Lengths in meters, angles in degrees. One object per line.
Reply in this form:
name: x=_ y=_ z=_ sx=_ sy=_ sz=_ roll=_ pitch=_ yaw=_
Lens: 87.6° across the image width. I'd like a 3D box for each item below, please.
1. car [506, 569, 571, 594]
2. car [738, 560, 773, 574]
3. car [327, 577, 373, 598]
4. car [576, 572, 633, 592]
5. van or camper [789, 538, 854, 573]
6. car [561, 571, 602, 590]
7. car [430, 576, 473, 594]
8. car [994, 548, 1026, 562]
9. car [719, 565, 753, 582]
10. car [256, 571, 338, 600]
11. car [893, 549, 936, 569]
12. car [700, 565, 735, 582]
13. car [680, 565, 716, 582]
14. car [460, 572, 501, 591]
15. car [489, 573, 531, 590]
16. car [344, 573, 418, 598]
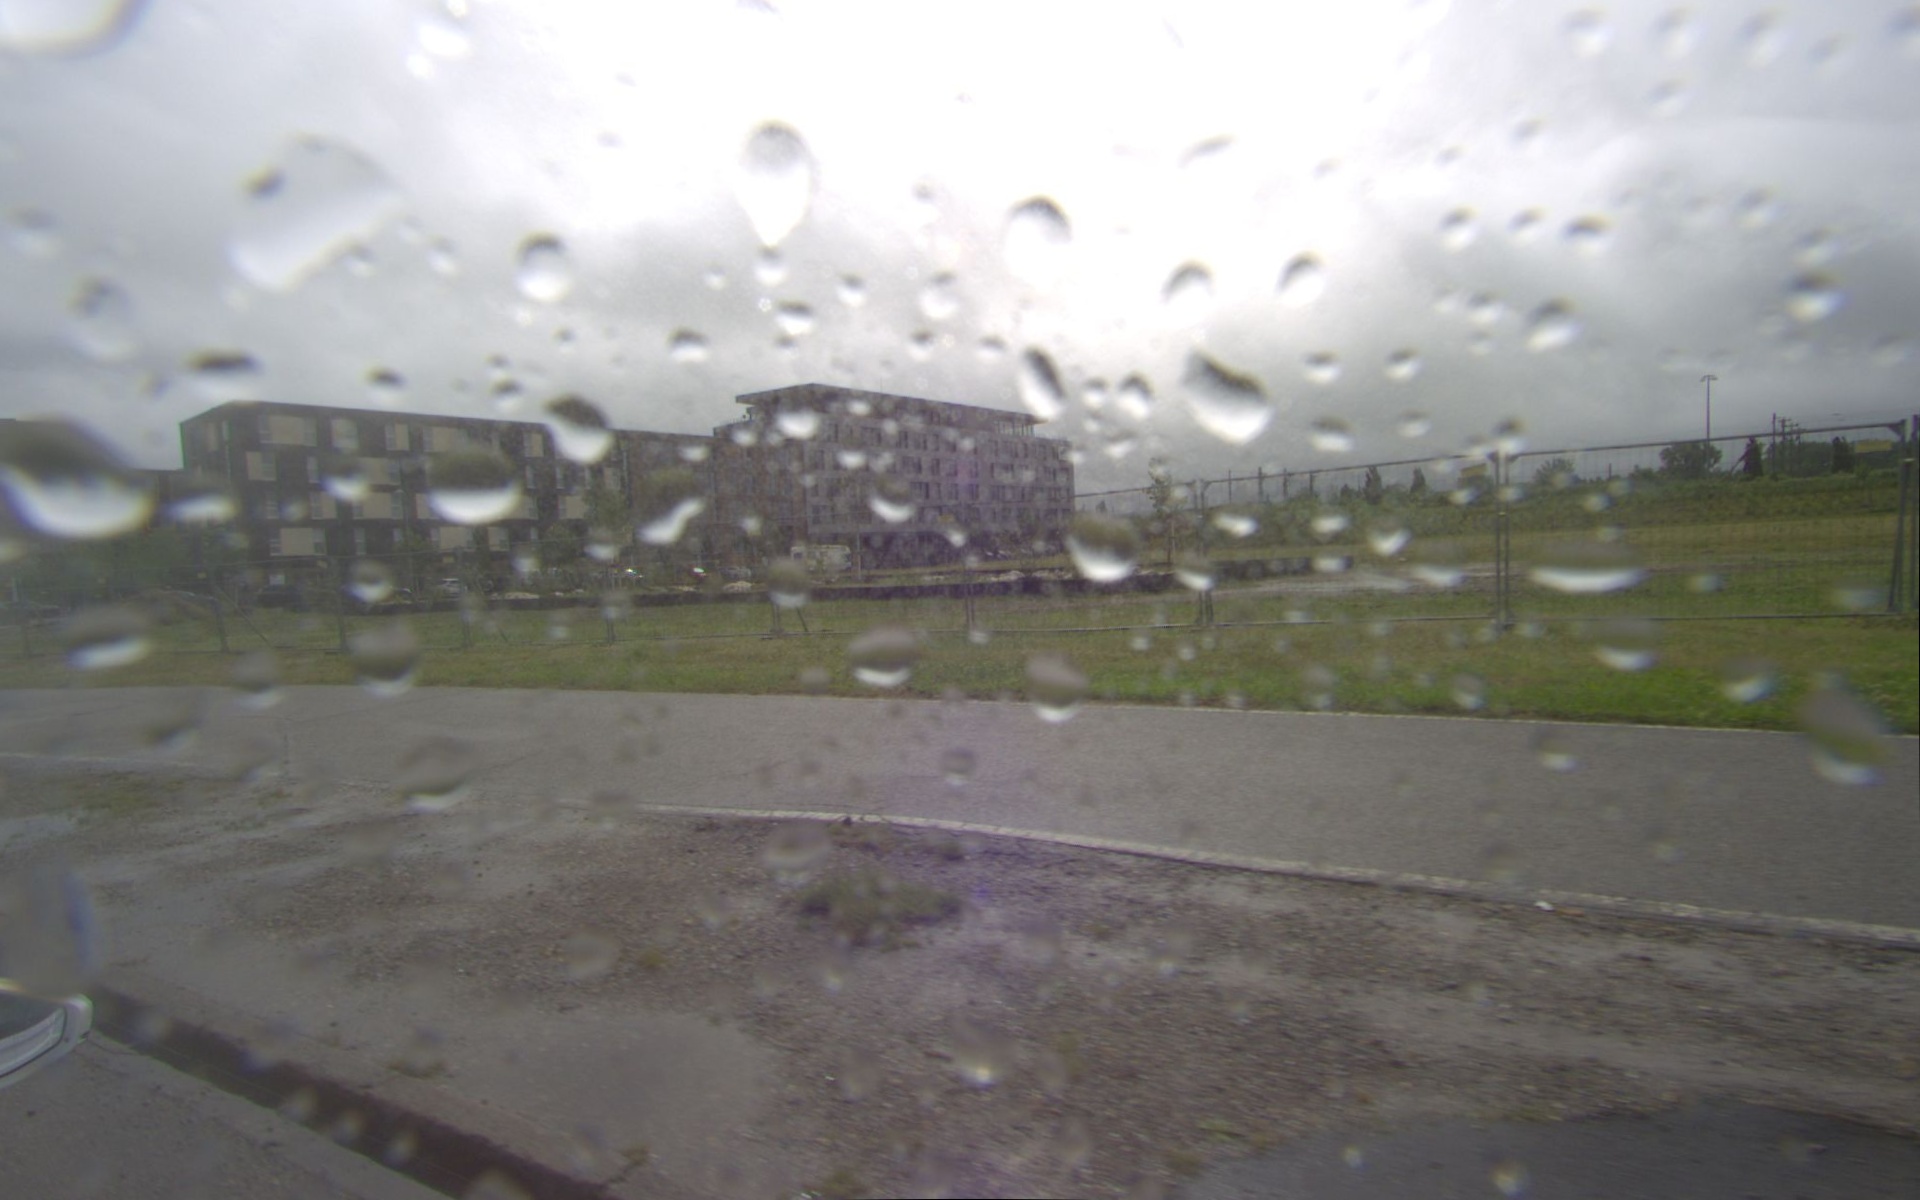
car: x=-33.069 y=-1.427 z=78.593 sx=1.976 sy=1.795 sz=4.306 roll=0 pitch=-1 yaw=39
car: x=-22.215 y=-3.561 z=108.576 sx=3.855 sy=1.313 sz=1.541 roll=0 pitch=1 yaw=38
car: x=-47.035 y=-0.937 z=77.166 sx=3.794 sy=1.548 sz=1.773 roll=0 pitch=1 yaw=38
car: x=-29.555 y=-1.510 z=83.251 sx=1.975 sy=1.434 sz=3.969 roll=0 pitch=3 yaw=38
van or camper: x=-14.078 y=-4.506 z=102.488 sx=2.498 sy=3.244 sz=6.750 roll=0 pitch=1 yaw=38
car: x=-34.728 y=-1.751 z=91.858 sx=3.794 sy=1.637 sz=1.773 roll=0 pitch=1 yaw=38
car: x=-42.242 y=-1.253 z=83.231 sx=3.760 sy=1.414 sz=1.756 roll=0 pitch=1 yaw=38
car: x=6.915 y=-6.255 z=138.859 sx=4.319 sy=1.710 sz=1.785 roll=0 pitch=1 yaw=41
car: x=-23.812 y=-2.786 z=106.382 sx=3.794 sy=1.637 sz=1.538 roll=0 pitch=1 yaw=38
car: x=-43.070 y=-0.930 z=65.119 sx=1.973 sy=1.751 sz=3.975 roll=0 pitch=1 yaw=34
car: x=-5.026 y=-4.523 z=110.560 sx=1.978 sy=2.040 sz=4.770 roll=0 pitch=1 yaw=42
car: x=-25.248 y=-2.763 z=104.269 sx=3.794 sy=1.637 sz=1.538 roll=0 pitch=1 yaw=38
car: x=-26.777 y=-2.739 z=102.329 sx=3.794 sy=1.637 sz=1.538 roll=0 pitch=1 yaw=38
car: x=-40.765 y=-1.545 z=85.075 sx=3.735 sy=1.415 sz=1.631 roll=-2 pitch=1 yaw=39
car: x=-39.040 y=-1.598 z=86.878 sx=3.794 sy=1.414 sz=1.773 roll=0 pitch=1 yaw=38
car: x=-40.073 y=-0.978 z=69.371 sx=1.973 sy=1.663 sz=3.975 roll=0 pitch=1 yaw=34
